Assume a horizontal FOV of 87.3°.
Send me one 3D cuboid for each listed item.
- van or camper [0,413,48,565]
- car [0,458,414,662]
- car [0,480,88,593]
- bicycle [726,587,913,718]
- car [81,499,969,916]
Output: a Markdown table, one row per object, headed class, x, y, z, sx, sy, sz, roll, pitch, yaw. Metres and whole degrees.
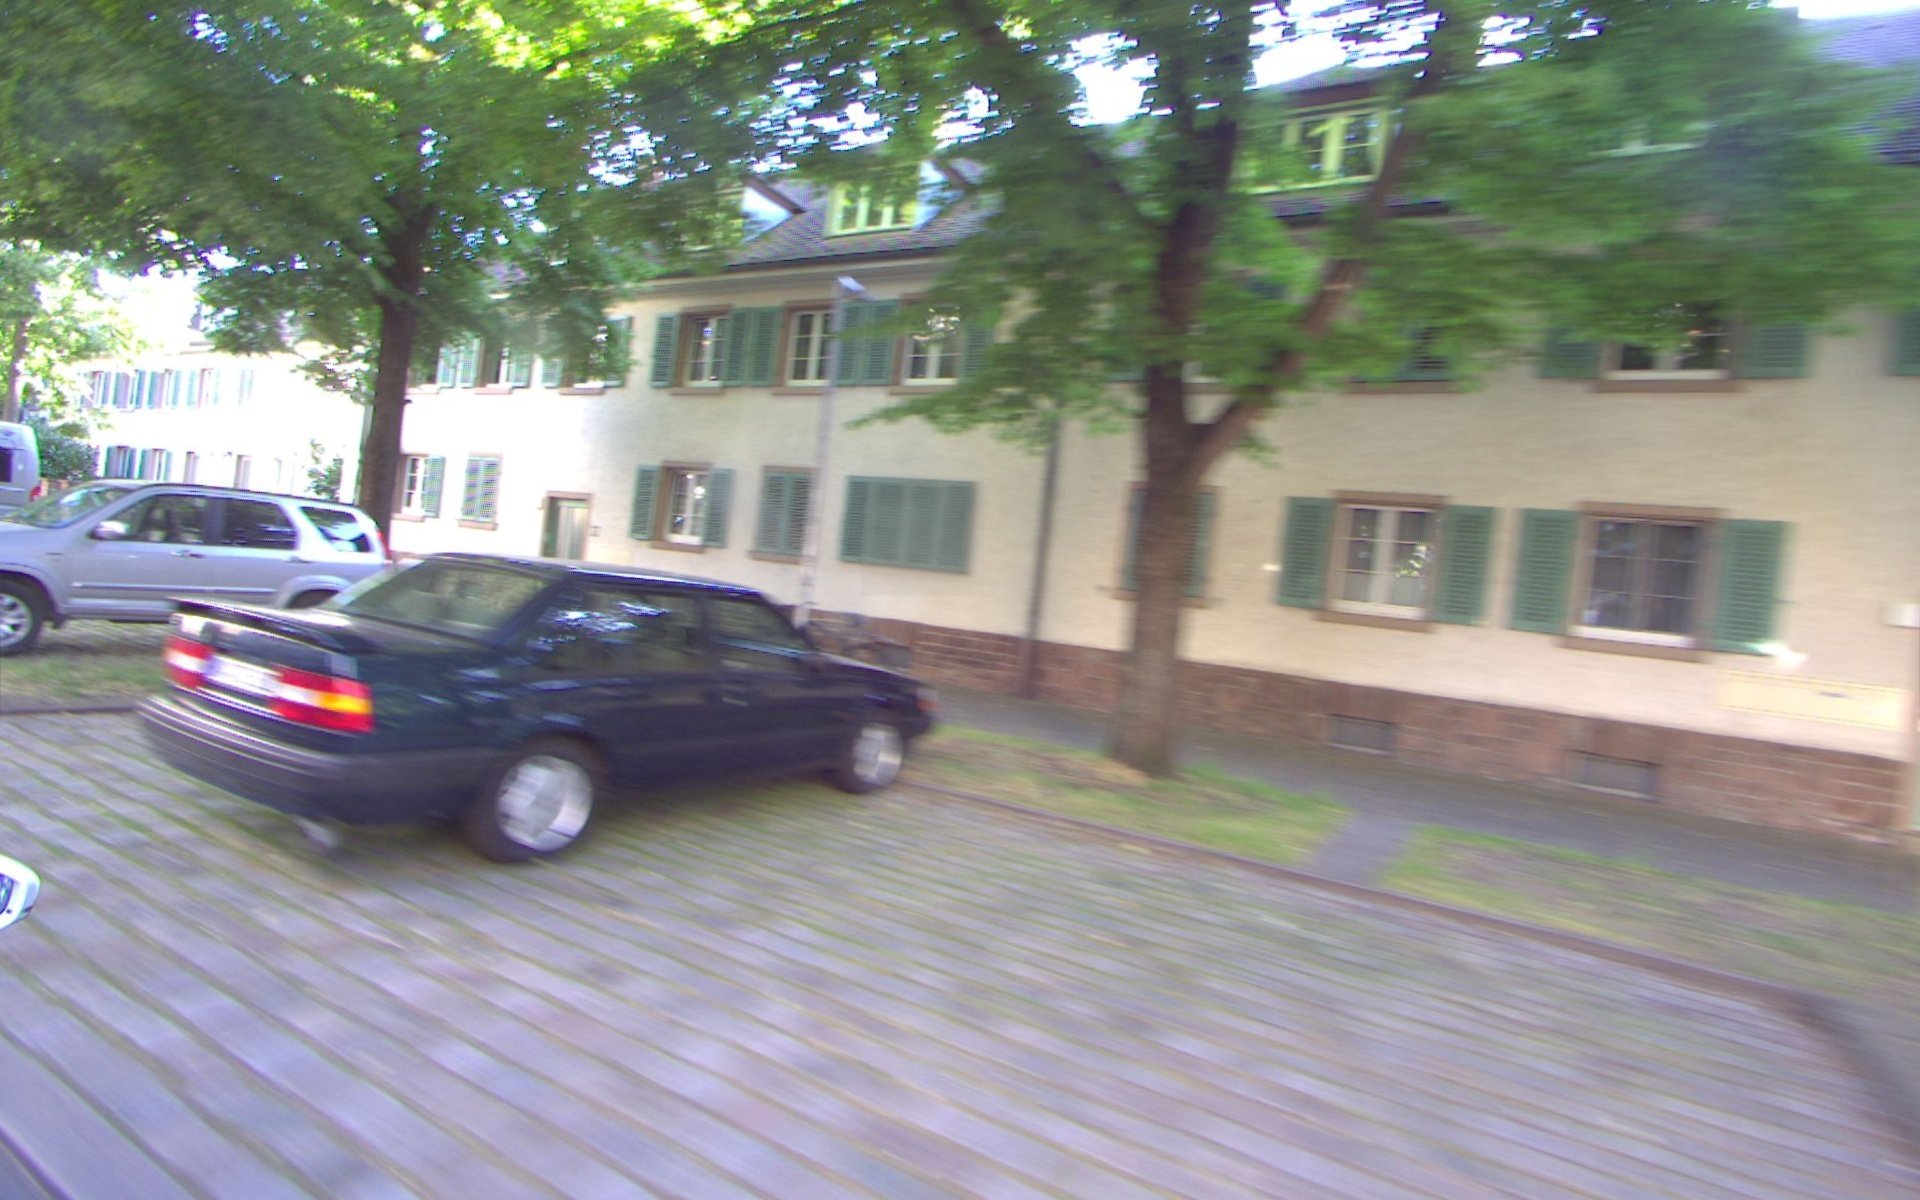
| class | x | y | z | sx | sy | sz | roll | pitch | yaw |
| --- | --- | --- | --- | --- | --- | --- | --- | --- | --- |
| van or camper | -18.538 | -2.085 | 15.939 | 2.229 | 2.569 | 5.580 | 6 | 1 | 28 |
| car | -8.200 | -0.399 | 9.992 | 1.909 | 1.692 | 4.479 | 8 | 2 | 29 |
| car | -14.265 | -1.007 | 13.447 | 1.722 | 1.491 | 3.505 | 6 | 0 | 29 |
| bicycle | -1.582 | 0.573 | 11.294 | 1.899 | 1.177 | 0.630 | 7 | 0 | 23 |
| car | -1.980 | 0.444 | 6.286 | 1.909 | 1.460 | 4.899 | 6 | 1 | 28 |
